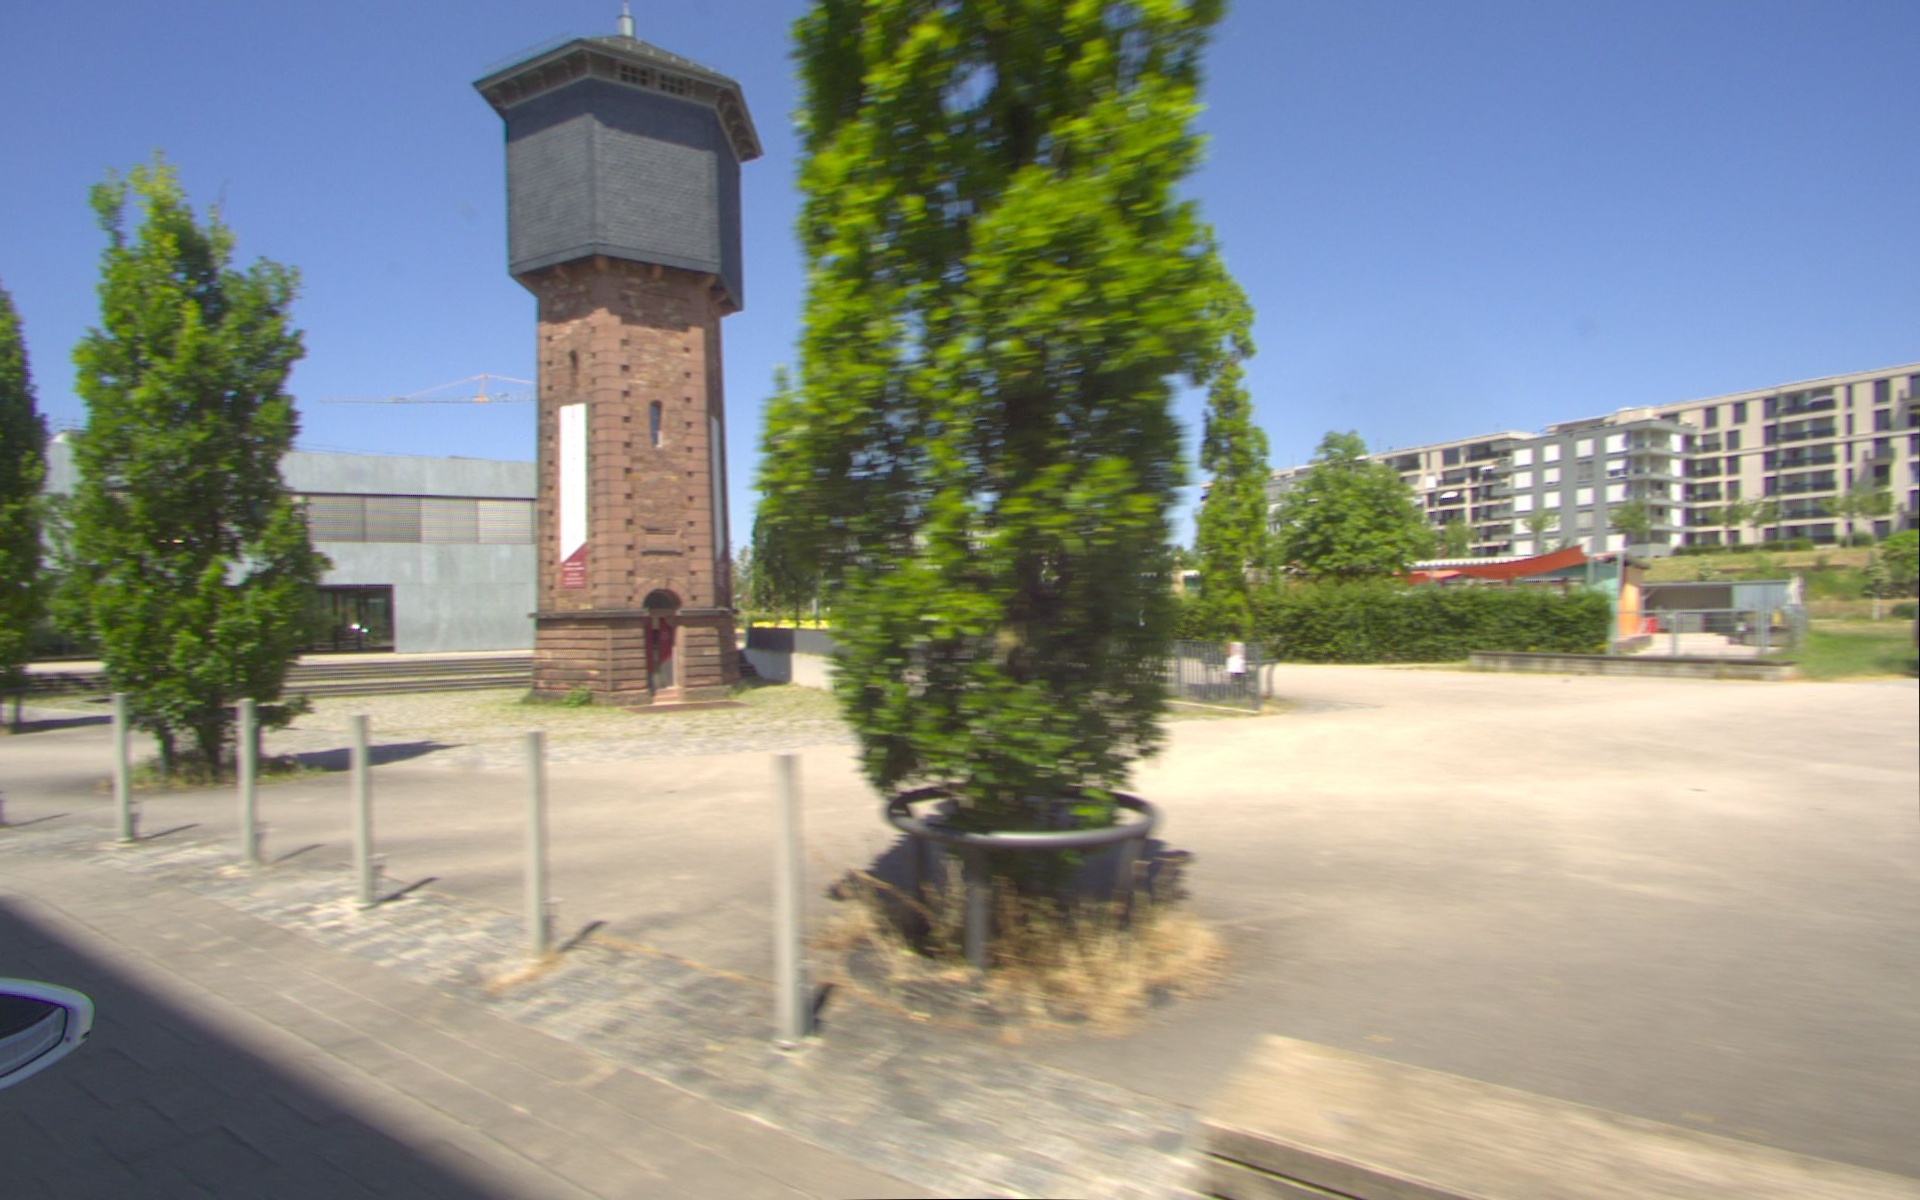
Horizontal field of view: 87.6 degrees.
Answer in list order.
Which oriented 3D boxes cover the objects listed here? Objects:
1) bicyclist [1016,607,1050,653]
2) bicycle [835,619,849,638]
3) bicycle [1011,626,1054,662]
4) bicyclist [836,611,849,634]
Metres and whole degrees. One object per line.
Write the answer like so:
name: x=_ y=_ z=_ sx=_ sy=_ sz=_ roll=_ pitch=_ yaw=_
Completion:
bicyclist: x=2.377 y=0.965 z=32.893 sx=0.844 sy=1.474 sz=0.881 roll=-1 pitch=0 yaw=-16
bicycle: x=-7.513 y=1.811 z=63.626 sx=0.580 sy=1.215 sz=1.938 roll=-1 pitch=-1 yaw=-17
bicycle: x=2.363 y=1.422 z=32.944 sx=0.784 sy=1.132 sz=1.912 roll=-1 pitch=-1 yaw=-16
bicyclist: x=-7.468 y=1.427 z=63.644 sx=0.720 sy=1.453 sz=0.659 roll=-1 pitch=0 yaw=-17
